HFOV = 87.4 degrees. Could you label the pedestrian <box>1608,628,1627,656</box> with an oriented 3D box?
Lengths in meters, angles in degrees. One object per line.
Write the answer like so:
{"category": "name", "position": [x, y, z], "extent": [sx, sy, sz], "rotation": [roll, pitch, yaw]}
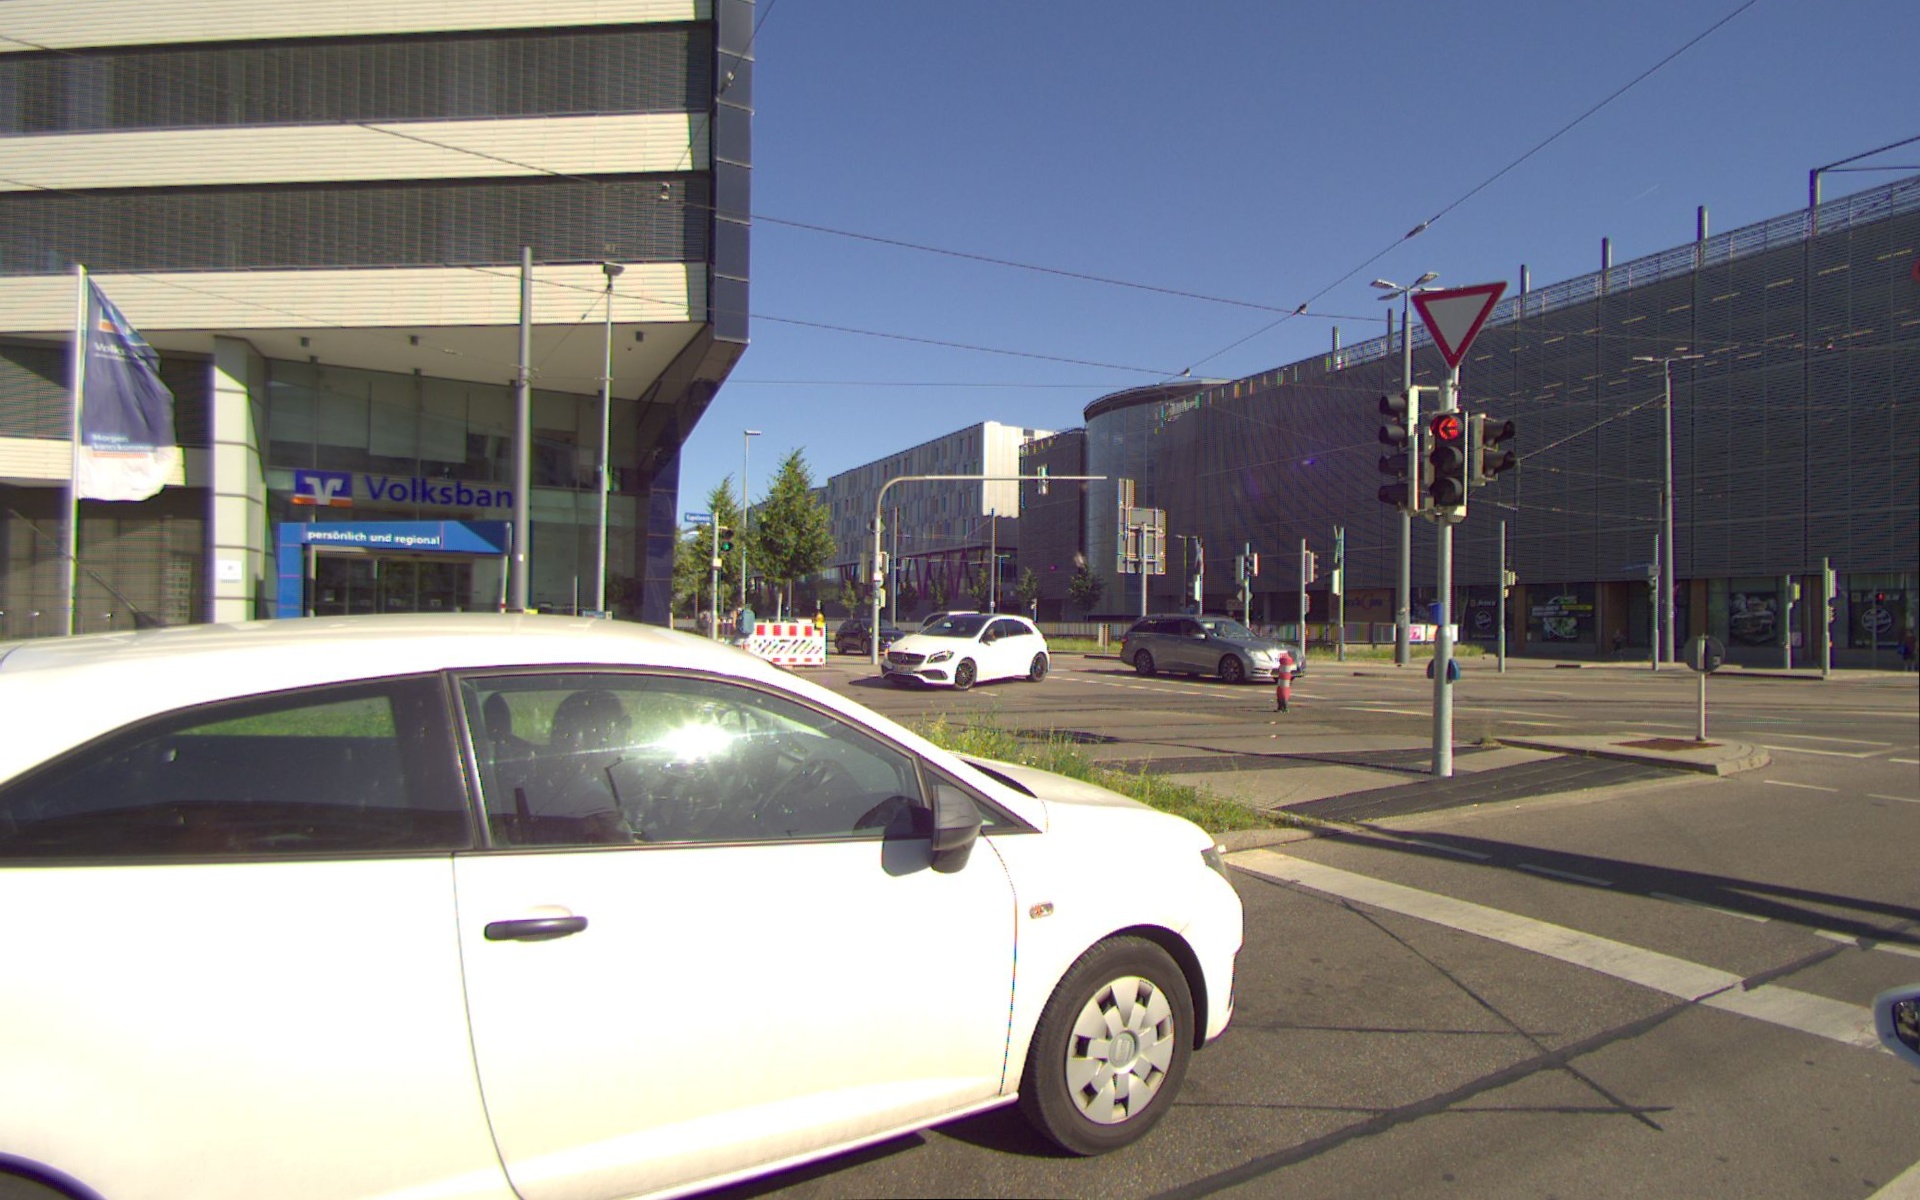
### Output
{"category": "pedestrian", "position": [39.129, 2.509, 59.767], "extent": [0.584, 1.622, 0.661], "rotation": [2, 0, -11]}

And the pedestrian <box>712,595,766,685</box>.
{"category": "pedestrian", "position": [-4.369, 0.765, 19.860], "extent": [0.734, 1.719, 0.798], "rotation": [1, 1, -40]}

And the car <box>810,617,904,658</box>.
{"category": "car", "position": [-4.227, 1.466, 40.623], "extent": [1.815, 1.481, 4.639], "rotation": [1, 0, -34]}

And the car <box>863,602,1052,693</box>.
{"category": "car", "position": [0.051, 0.922, 20.652], "extent": [1.796, 1.668, 4.168], "rotation": [0, -1, 36]}

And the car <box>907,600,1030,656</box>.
{"category": "car", "position": [0.202, 0.916, 33.407], "extent": [1.916, 1.729, 4.643], "rotation": [1, -2, -32]}

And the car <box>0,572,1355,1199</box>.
{"category": "car", "position": [-0.956, 0.736, 2.791], "extent": [3.977, 1.460, 1.723], "rotation": [2, 1, -31]}

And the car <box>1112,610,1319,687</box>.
{"category": "car", "position": [5.764, 1.049, 23.274], "extent": [1.688, 1.593, 4.829], "rotation": [1, -1, -32]}

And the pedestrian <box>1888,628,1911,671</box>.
{"category": "pedestrian", "position": [39.969, 2.112, 42.731], "extent": [0.687, 1.821, 0.726], "rotation": [-2, -3, 44]}

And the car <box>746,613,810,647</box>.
{"category": "car", "position": [-9.046, 1.448, 49.630], "extent": [1.690, 1.534, 4.241], "rotation": [1, 0, -32]}

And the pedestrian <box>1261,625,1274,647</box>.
{"category": "pedestrian", "position": [23.386, 2.751, 76.489], "extent": [0.642, 1.622, 0.658], "rotation": [2, 0, -24]}
